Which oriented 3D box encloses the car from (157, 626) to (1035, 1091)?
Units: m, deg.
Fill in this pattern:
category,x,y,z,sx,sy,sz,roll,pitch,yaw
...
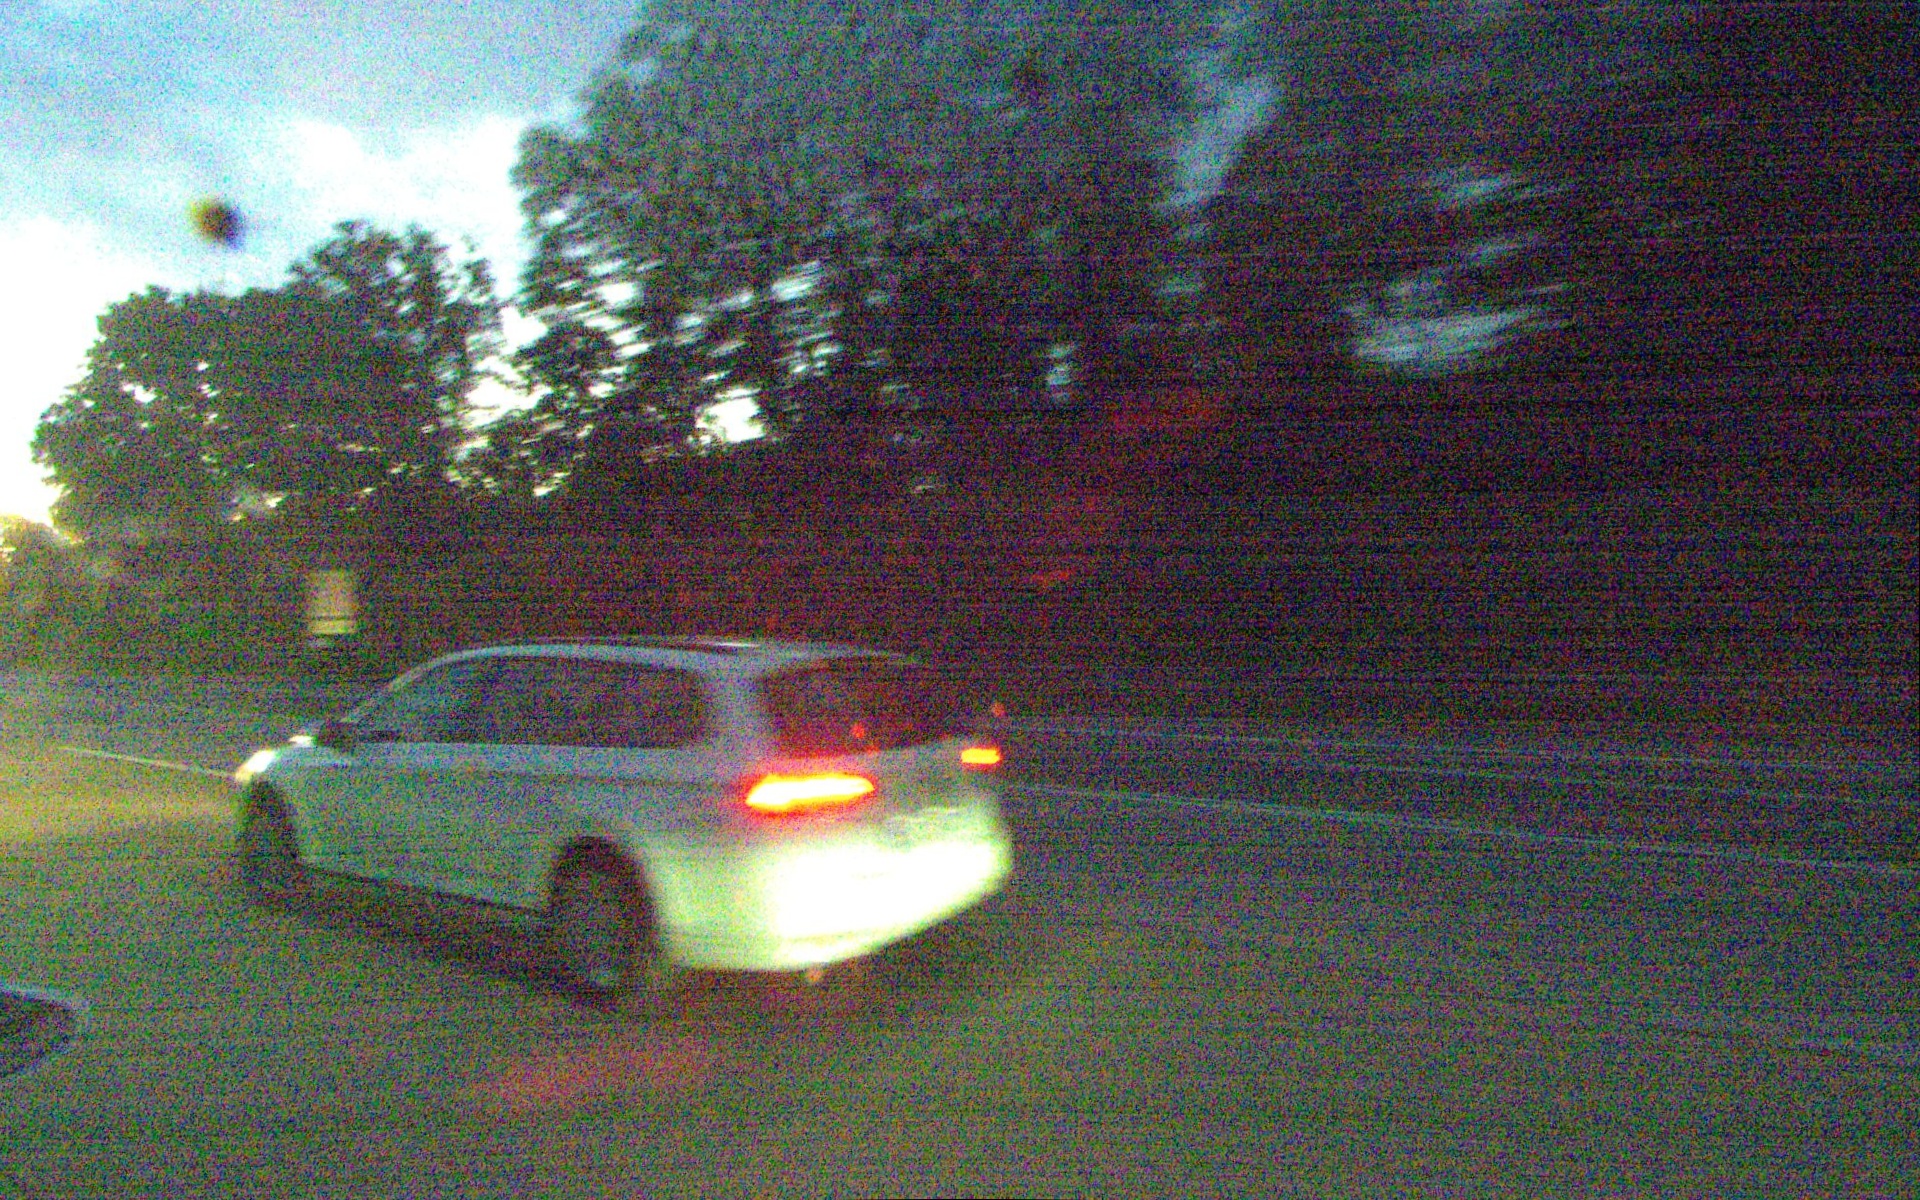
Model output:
category,x,y,z,sx,sy,sz,roll,pitch,yaw
car,-2.245,0.913,5.460,5.058,1.485,1.806,0,-1,33
